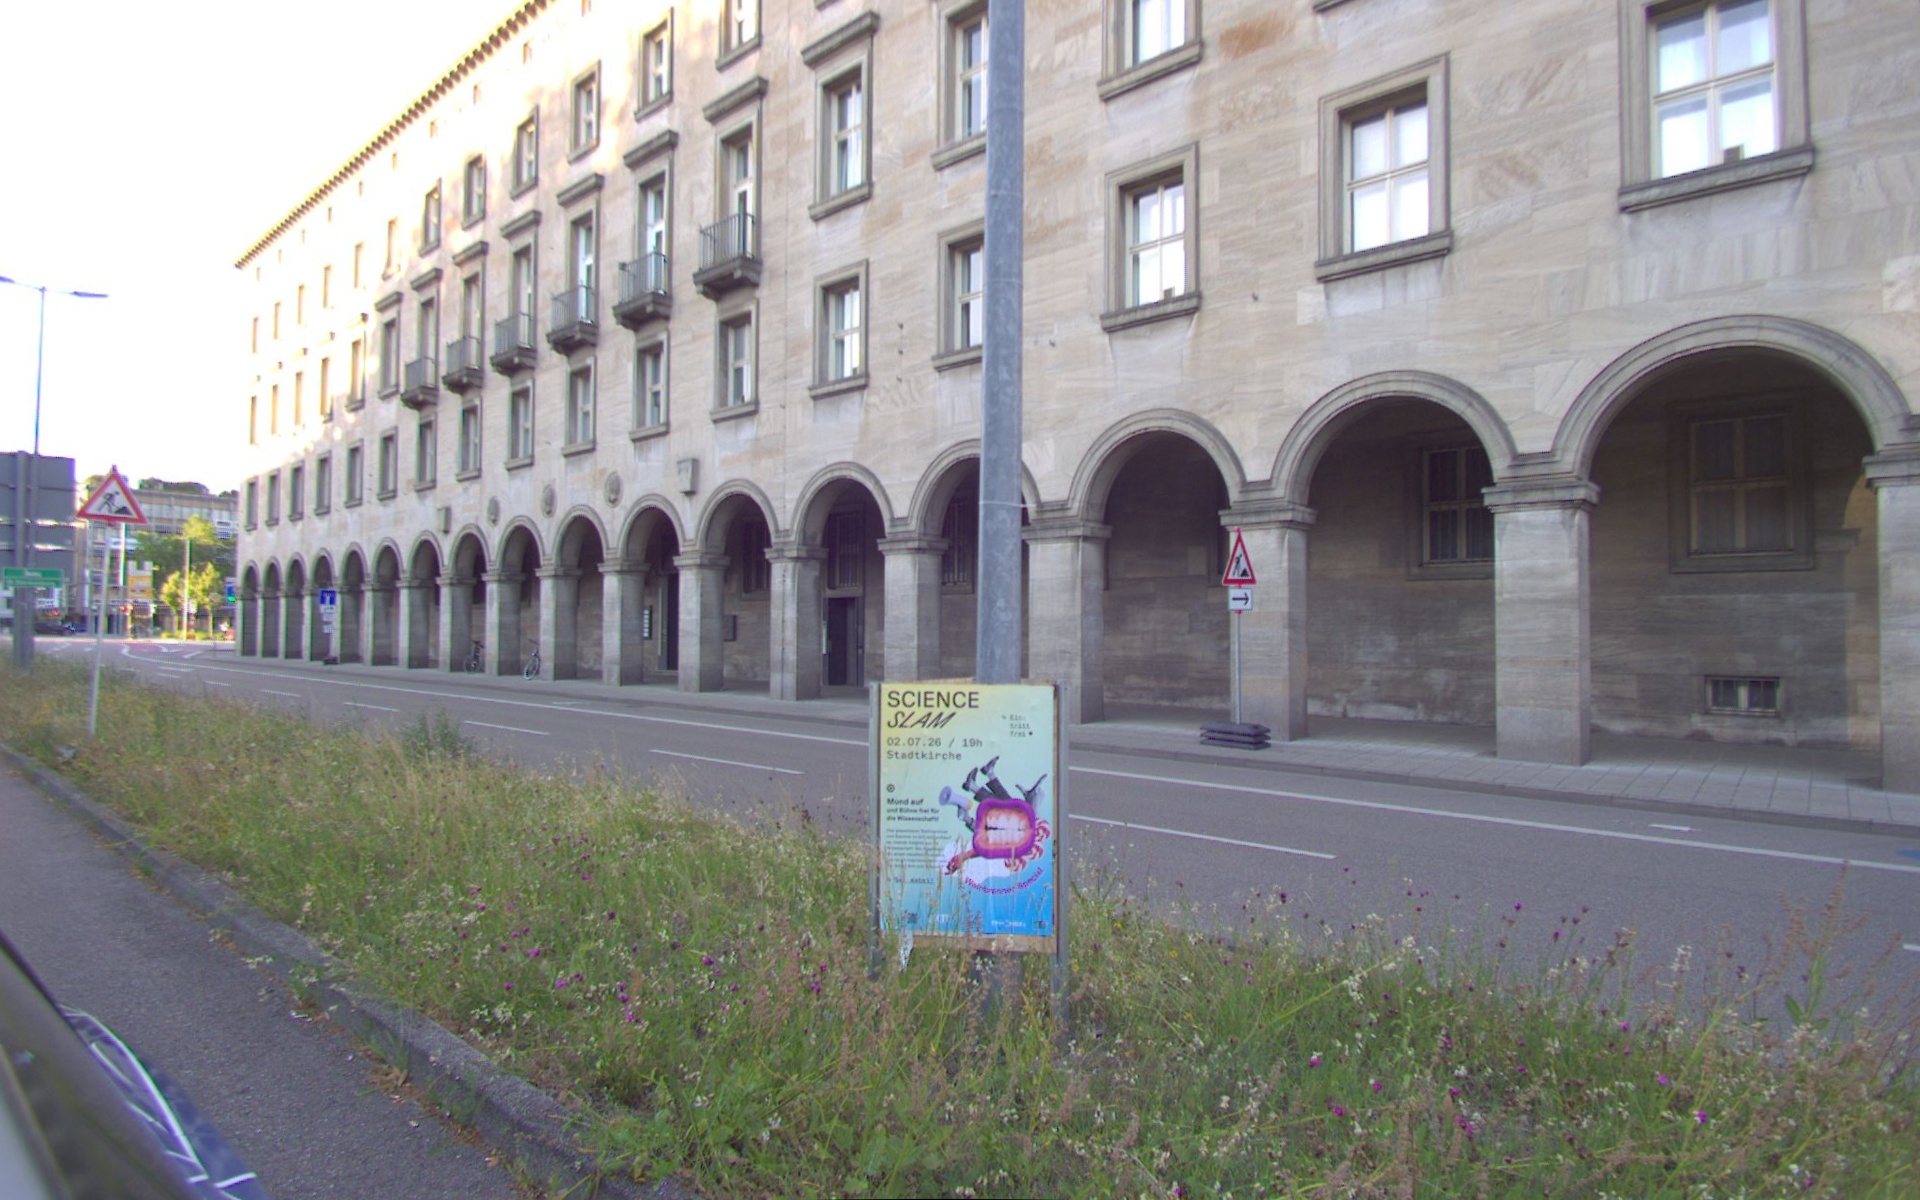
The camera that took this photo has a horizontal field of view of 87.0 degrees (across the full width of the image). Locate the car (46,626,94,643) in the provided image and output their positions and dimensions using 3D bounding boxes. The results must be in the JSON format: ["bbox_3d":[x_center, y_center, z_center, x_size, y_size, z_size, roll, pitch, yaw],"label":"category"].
[{"bbox_3d":[-111.950,4.371,127.348,2.000,2.029,4.378,-2,-3,43],"label":"car"}]

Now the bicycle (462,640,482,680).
[{"bbox_3d":[-15.439,1.884,32.046,0.505,1.188,2.431,1,-2,-25],"label":"bicycle"}]

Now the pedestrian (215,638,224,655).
[{"bbox_3d":[-67.697,4.215,92.522,0.389,1.553,0.519,-2,-3,41],"label":"pedestrian"}]

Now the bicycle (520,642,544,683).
[{"bbox_3d":[-12.853,1.846,30.409,0.505,1.130,2.431,1,-1,-20],"label":"bicycle"}]
